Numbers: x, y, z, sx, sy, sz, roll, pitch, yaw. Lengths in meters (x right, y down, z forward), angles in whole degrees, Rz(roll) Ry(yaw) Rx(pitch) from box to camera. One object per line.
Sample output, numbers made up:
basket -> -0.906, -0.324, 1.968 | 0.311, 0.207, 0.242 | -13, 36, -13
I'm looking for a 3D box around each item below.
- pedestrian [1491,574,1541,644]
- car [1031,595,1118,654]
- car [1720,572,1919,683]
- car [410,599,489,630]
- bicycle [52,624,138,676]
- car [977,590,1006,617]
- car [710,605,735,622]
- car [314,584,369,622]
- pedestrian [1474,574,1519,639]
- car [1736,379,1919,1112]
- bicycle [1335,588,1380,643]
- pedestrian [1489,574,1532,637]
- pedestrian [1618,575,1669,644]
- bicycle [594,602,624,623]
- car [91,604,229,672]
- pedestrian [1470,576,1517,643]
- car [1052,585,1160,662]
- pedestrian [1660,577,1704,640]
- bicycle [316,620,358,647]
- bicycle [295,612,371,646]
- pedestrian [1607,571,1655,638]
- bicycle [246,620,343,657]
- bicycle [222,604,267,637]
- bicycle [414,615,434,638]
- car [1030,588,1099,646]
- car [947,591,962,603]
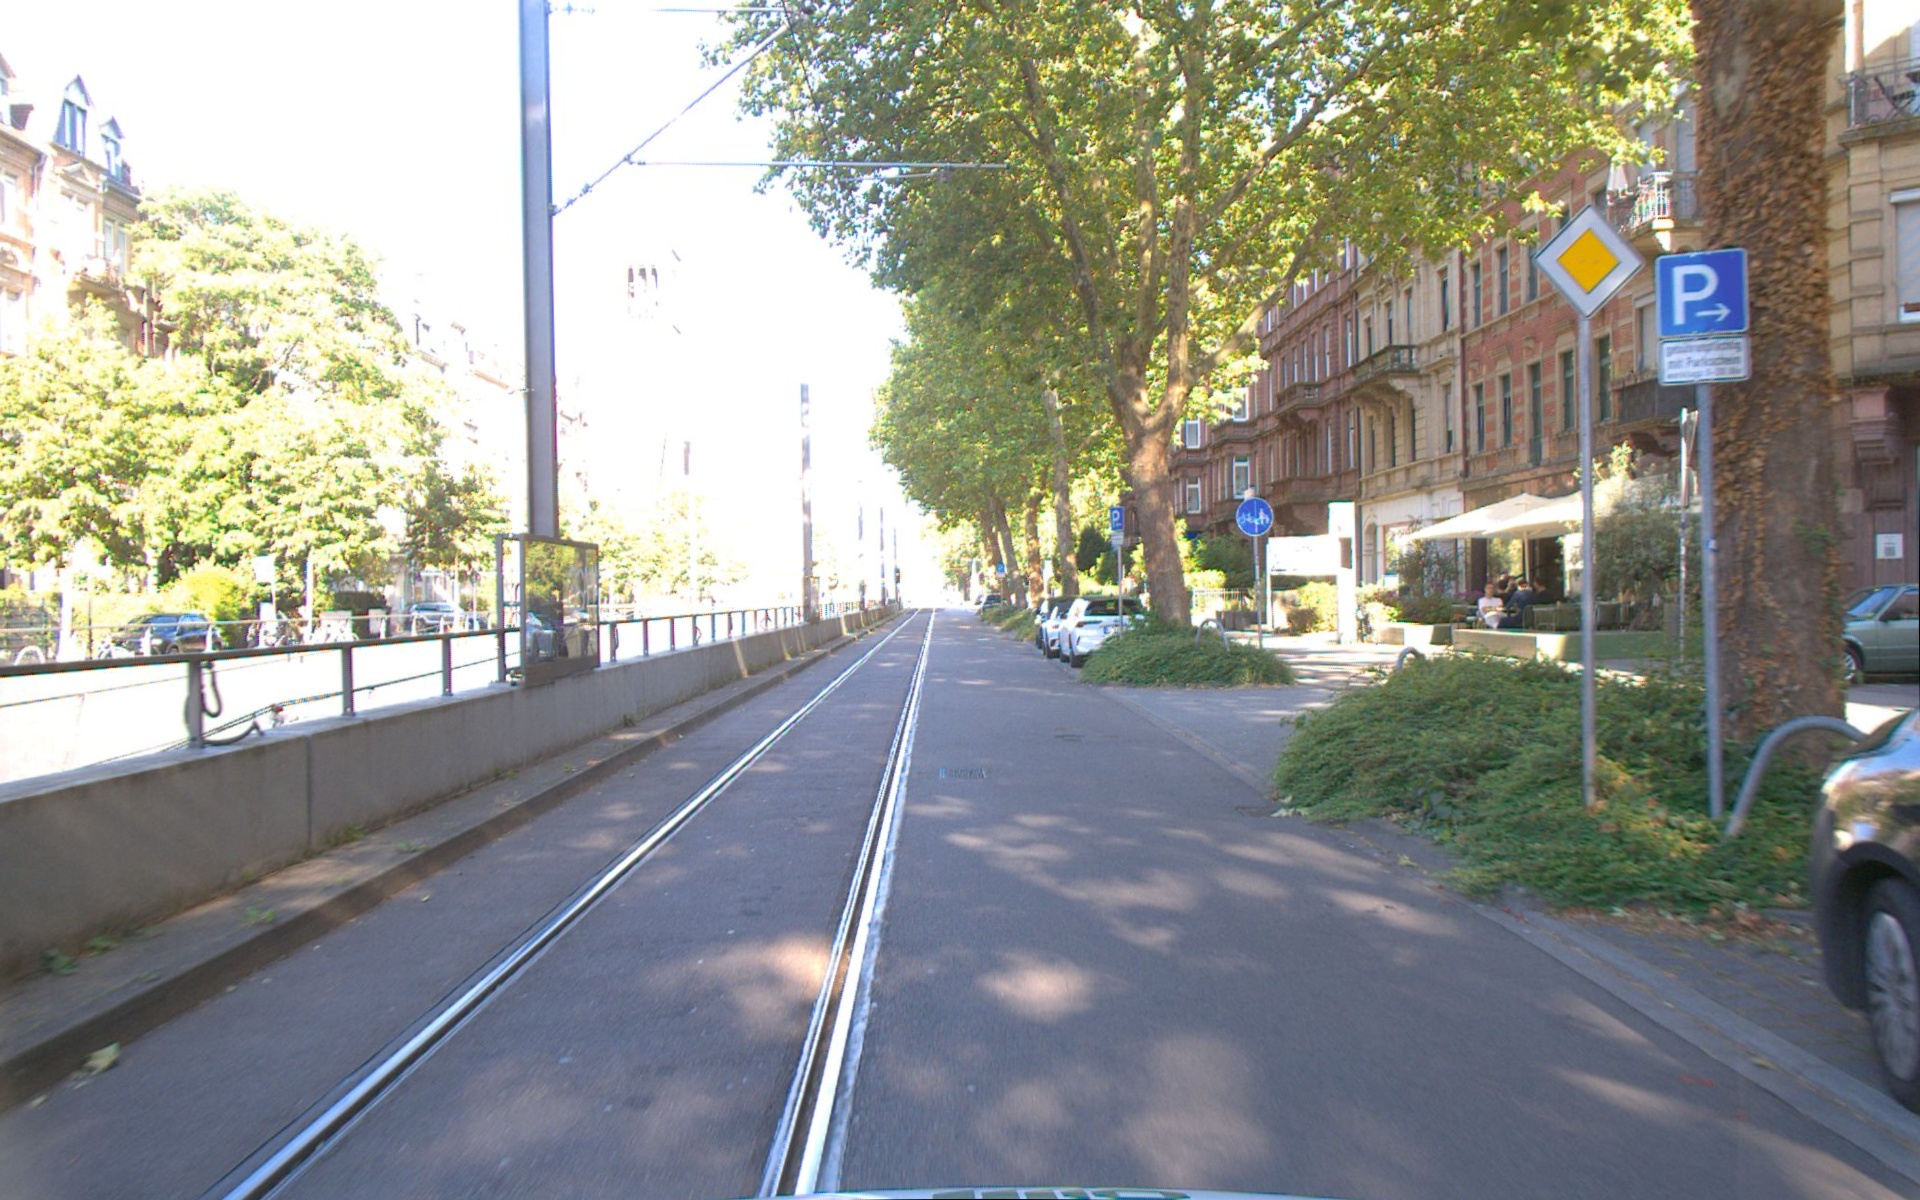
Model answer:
pedestrian -> 10.720, 0.177, 31.901 | 0.698, 1.323, 0.662 | -1, 0, -2
car -> 2.739, 0.570, 40.428 | 1.793, 1.350, 3.999 | -1, 0, -1
car -> 12.842, 0.339, 22.852 | 3.908, 1.388, 1.742 | -1, 2, -4
car -> -27.935, 0.802, 90.581 | 3.914, 1.653, 1.821 | 0, 0, -10
bicycle -> -21.208, 1.220, 40.559 | 1.771, 1.199, 0.562 | 2, 0, 1
car -> 1.997, 0.195, 104.917 | 1.584, 1.615, 4.415 | -2, 0, -2
car -> -23.073, 1.328, 161.083 | 1.680, 1.582, 4.510 | 2, 0, 1
car -> -31.786, 0.124, 85.077 | 1.959, 1.881, 4.466 | 2, 0, -12
pedestrian -> 11.108, 0.138, 34.262 | 0.698, 1.323, 0.662 | -1, 0, -1
car -> 3.706, 0.405, 3.010 | 1.953, 2.048, 5.200 | -2, 1, -2
bicycle -> 8.854, 0.332, 36.901 | 0.465, 1.163, 1.896 | -3, 0, -1
pedestrian -> 11.802, 0.110, 35.455 | 0.698, 1.323, 0.663 | -1, 0, 0
pedestrian -> 13.323, 0.178, 32.249 | 0.698, 1.323, 0.662 | -1, 0, -2
bicycle -> -22.019, 0.790, 103.715 | 1.694, 1.302, 0.600 | -1, 0, 5
car -> -21.024, 0.963, 43.649 | 1.796, 1.612, 3.998 | 2, 0, -3
pedestrian -> 10.708, 0.184, 33.191 | 0.698, 1.323, 0.662 | -1, 0, -2
car -> 3.031, 0.462, 35.212 | 1.766, 1.503, 4.645 | -1, 0, -1
pedestrian -> 12.999, 0.147, 29.775 | 0.545, 1.121, 0.526 | -1, 0, -2
bicycle -> -21.503, 1.152, 57.089 | 1.252, 0.921, 0.533 | 2, 0, -32
bicycle -> -21.394, 0.995, 56.476 | 2.344, 1.117, 0.551 | 2, 0, -32
pedestrian -> 13.416, 0.091, 33.101 | 0.647, 1.323, 0.715 | -1, 0, -2
bicycle -> -20.911, 1.230, 52.015 | 2.753, 1.117, 0.635 | 2, 0, -34
bicycle -> -24.847, 0.700, 57.476 | 0.544, 1.117, 2.375 | 2, 0, -1
bicycle -> -24.926, 1.238, 76.935 | 0.449, 1.023, 1.923 | 2, -3, -31
car -> 2.942, 0.465, 47.416 | 1.696, 1.563, 4.805 | -1, 0, 0
car -> -0.665, -0.382, 202.797 | 1.710, 1.487, 3.643 | 2, 0, -2
